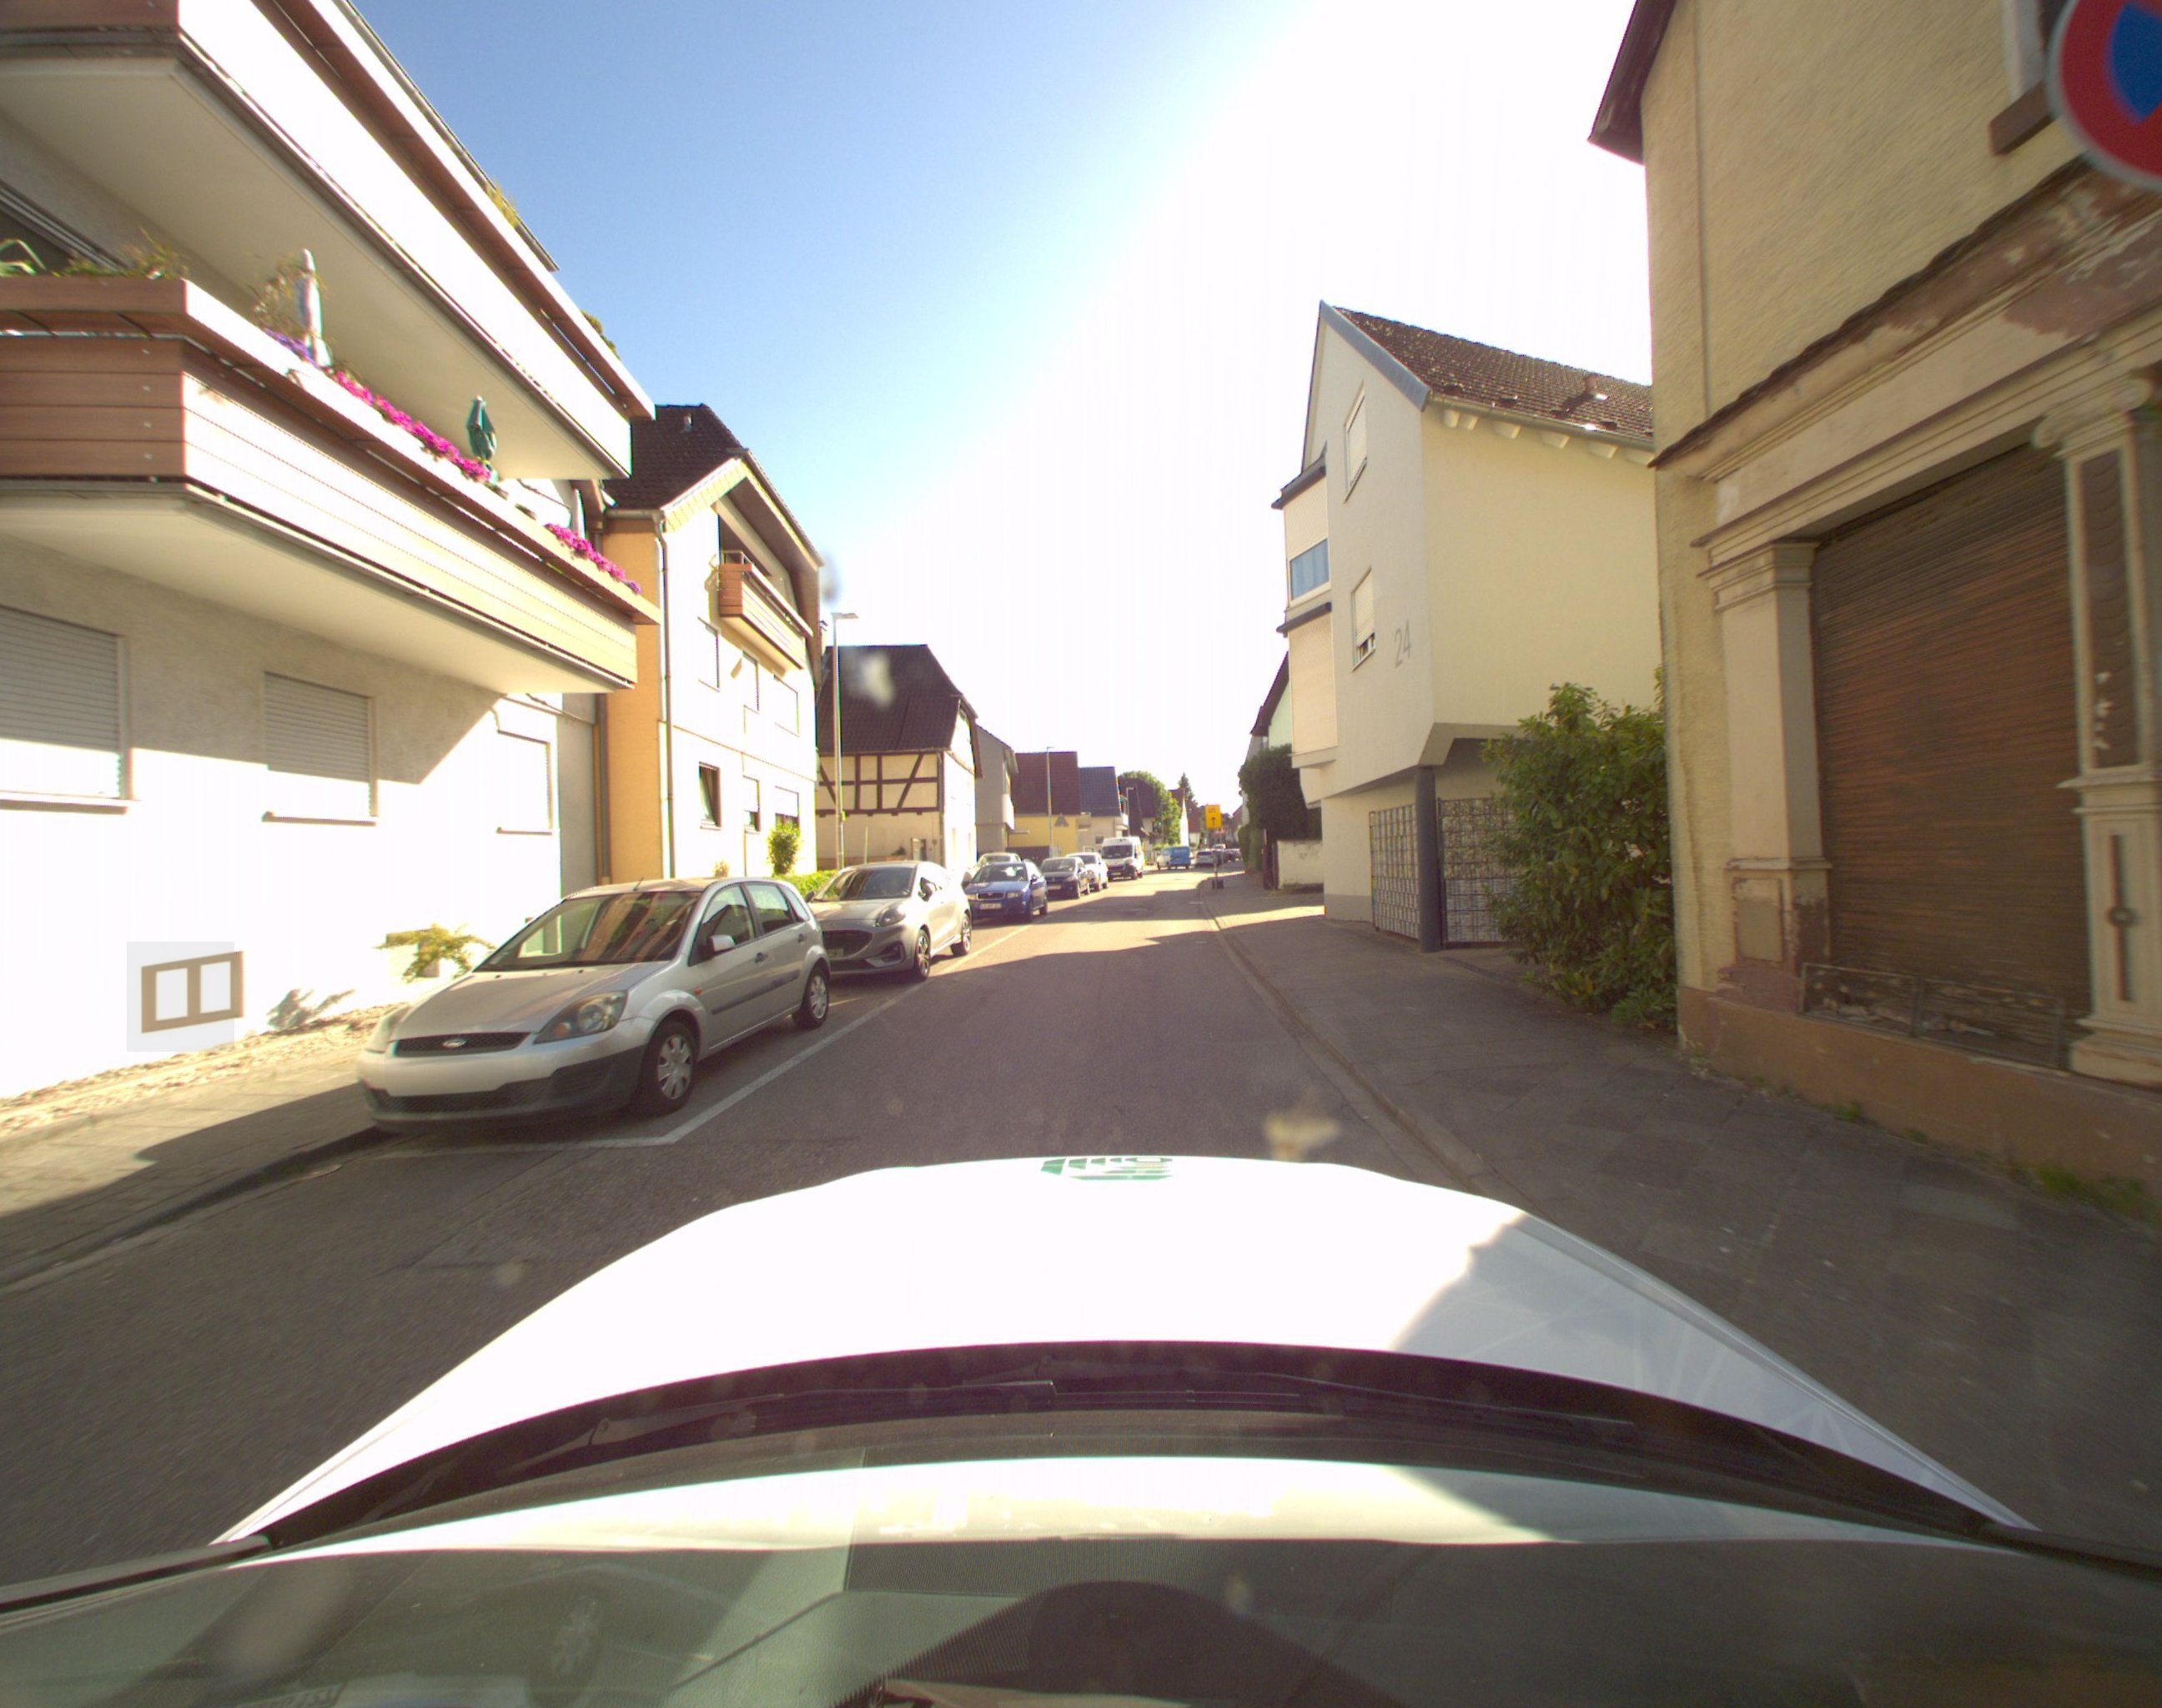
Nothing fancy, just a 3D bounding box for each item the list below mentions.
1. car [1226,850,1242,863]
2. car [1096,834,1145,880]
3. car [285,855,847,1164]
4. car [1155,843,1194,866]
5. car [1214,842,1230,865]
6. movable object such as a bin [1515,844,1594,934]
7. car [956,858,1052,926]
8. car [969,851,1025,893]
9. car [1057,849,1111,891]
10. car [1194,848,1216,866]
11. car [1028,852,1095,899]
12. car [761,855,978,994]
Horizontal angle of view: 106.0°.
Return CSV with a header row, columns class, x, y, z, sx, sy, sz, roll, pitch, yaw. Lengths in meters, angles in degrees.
class,x,y,z,sx,sy,sz,roll,pitch,yaw
car,20.363,0.356,108.149,1.916,1.571,4.014,0,-2,14
car,2.336,0.133,47.103,2.064,2.394,5.222,-3,0,10
car,-3.284,0.831,6.232,1.624,1.505,3.855,-4,0,2
car,7.833,0.038,68.494,1.921,1.801,4.764,-4,1,-10
car,16.824,0.002,96.817,1.833,2.639,4.011,0,-2,10
movable object such as a bin,6.290,0.462,10.838,0.600,1.129,0.582,-3,-2,-15
car,-1.798,0.858,20.249,1.631,1.441,4.079,-3,-1,4
car,-3.444,0.703,34.156,1.714,1.596,4.020,0,1,3
car,0.176,0.615,34.133,1.664,1.572,3.974,-3,0,8
car,10.875,0.277,71.460,1.834,1.413,4.007,0,-2,7
car,-0.638,0.730,29.793,1.694,1.518,4.131,-4,-1,8
car,-2.697,0.816,11.405,1.666,1.506,4.098,-3,0,4
